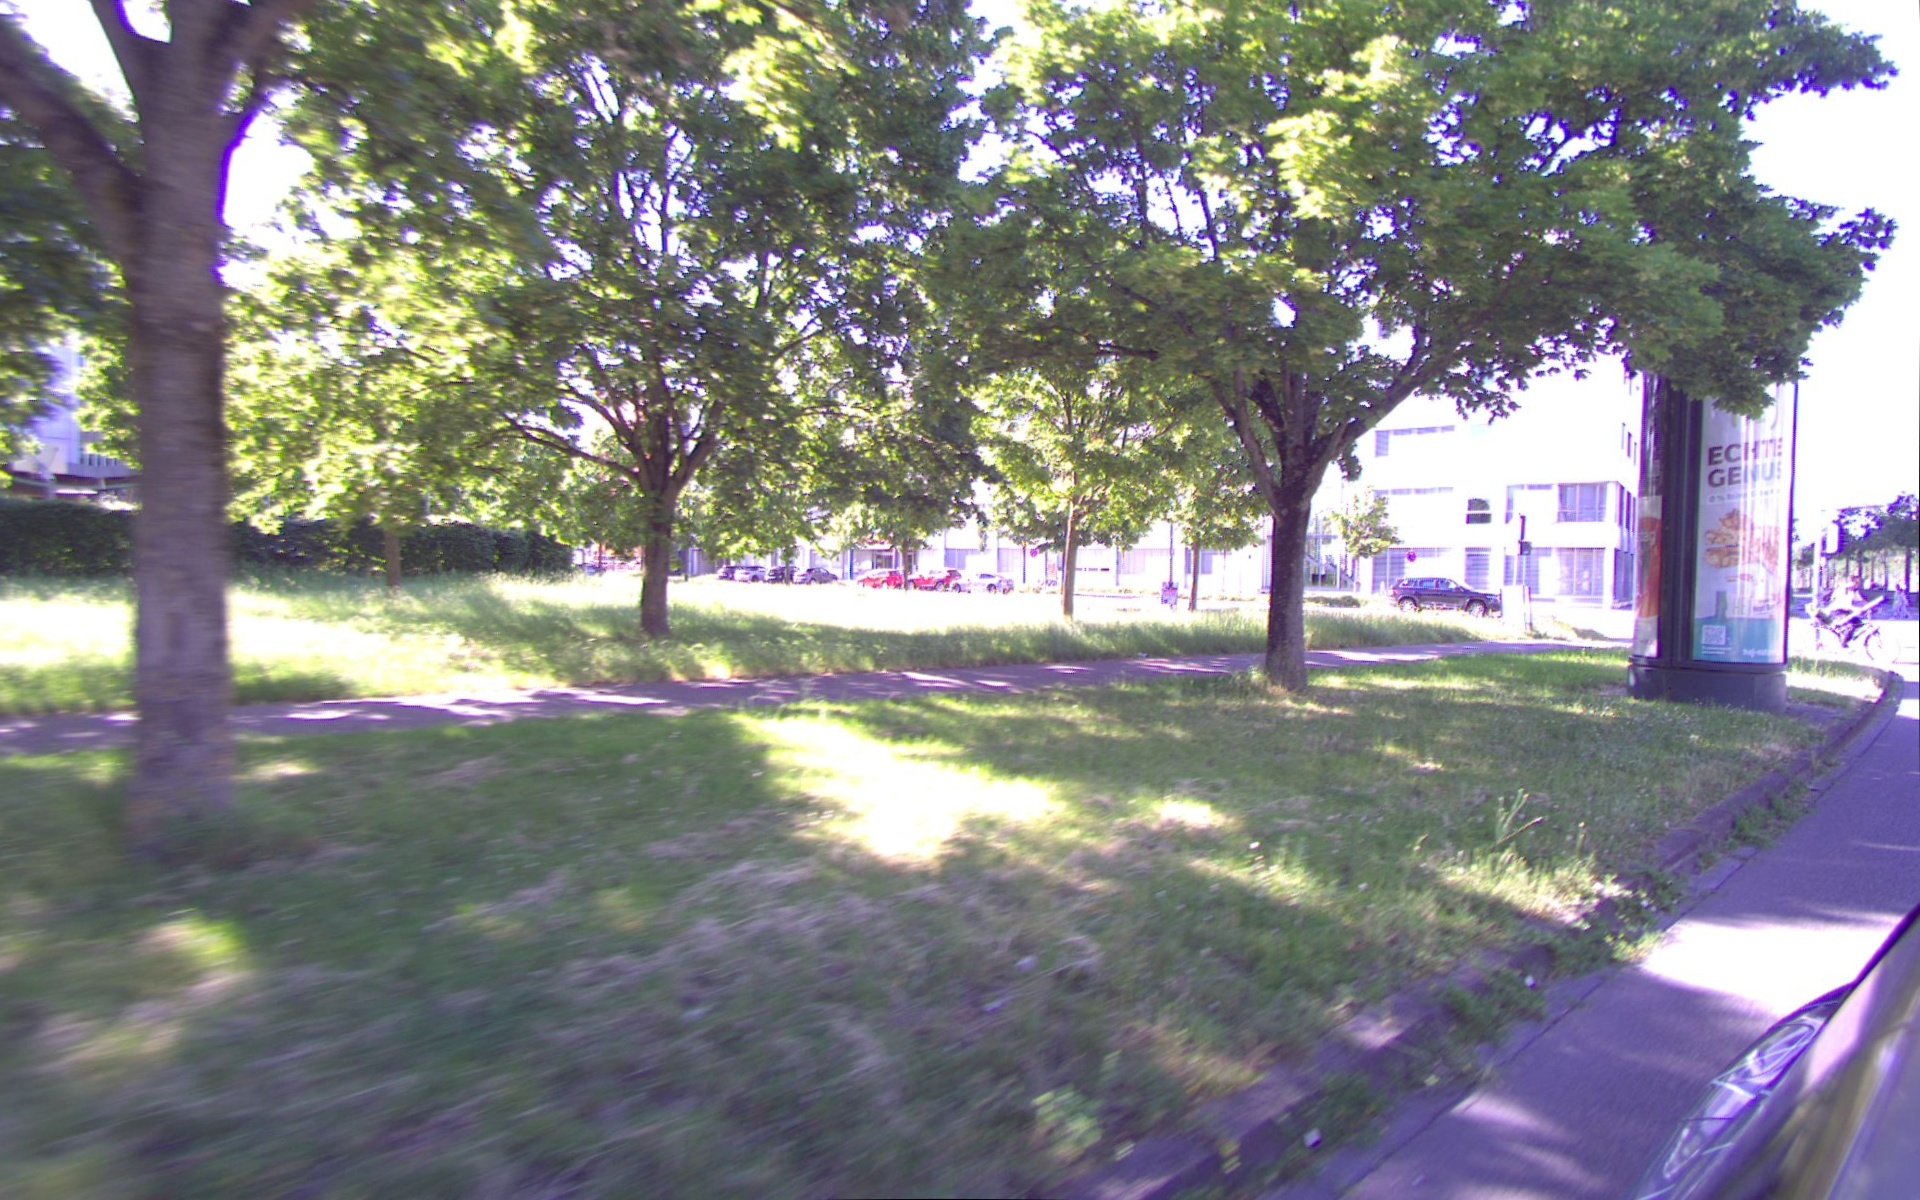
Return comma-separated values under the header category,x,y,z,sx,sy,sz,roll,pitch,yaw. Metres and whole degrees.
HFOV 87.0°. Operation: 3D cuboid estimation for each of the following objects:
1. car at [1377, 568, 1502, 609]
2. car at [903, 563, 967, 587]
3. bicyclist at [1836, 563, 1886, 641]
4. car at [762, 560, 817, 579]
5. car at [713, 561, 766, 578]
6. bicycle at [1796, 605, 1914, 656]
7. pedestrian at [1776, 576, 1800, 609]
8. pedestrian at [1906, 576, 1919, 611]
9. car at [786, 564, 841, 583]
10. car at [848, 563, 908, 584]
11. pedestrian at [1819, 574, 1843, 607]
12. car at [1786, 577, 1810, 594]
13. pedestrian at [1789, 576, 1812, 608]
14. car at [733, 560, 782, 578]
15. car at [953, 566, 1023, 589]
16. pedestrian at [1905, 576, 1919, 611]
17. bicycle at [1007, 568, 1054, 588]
category,x,y,z,sx,sy,sz,roll,pitch,yaw
car,20.920,-0.532,44.262,4.611,1.642,1.971,2,3,40
car,-1.788,-1.792,71.812,4.261,1.614,1.895,2,2,36
bicyclist,19.320,0.032,21.696,0.836,1.620,0.713,0,2,-45
car,-13.738,-2.469,81.721,1.908,1.437,4.231,2,2,36
car,-18.742,-2.588,86.227,1.908,1.437,4.231,2,2,36
bicycle,19.240,0.625,21.775,0.841,0.975,1.824,0,2,-44
pedestrian,43.174,-0.394,52.770,0.720,1.718,0.734,0,1,-29
pedestrian,46.905,-0.333,49.601,0.731,1.718,0.723,2,2,45
car,-11.519,-2.106,79.982,1.908,1.437,4.231,2,2,36
car,-6.064,-1.970,74.997,4.261,1.437,1.895,2,2,36
pedestrian,45.835,-0.524,53.271,0.880,1.718,0.723,2,2,45
car,86.620,-1.503,104.610,1.685,1.731,4.184,2,2,38
pedestrian,45.457,-0.428,54.743,0.720,1.718,0.734,0,1,-29
car,-16.840,-2.545,84.413,1.651,1.437,3.957,2,2,36
car,1.826,-1.497,66.611,4.261,1.437,1.895,2,2,36
pedestrian,47.487,-0.310,50.293,0.731,1.718,0.723,2,2,45
bicycle,5.070,-1.593,73.007,3.518,1.365,0.976,2,2,39
